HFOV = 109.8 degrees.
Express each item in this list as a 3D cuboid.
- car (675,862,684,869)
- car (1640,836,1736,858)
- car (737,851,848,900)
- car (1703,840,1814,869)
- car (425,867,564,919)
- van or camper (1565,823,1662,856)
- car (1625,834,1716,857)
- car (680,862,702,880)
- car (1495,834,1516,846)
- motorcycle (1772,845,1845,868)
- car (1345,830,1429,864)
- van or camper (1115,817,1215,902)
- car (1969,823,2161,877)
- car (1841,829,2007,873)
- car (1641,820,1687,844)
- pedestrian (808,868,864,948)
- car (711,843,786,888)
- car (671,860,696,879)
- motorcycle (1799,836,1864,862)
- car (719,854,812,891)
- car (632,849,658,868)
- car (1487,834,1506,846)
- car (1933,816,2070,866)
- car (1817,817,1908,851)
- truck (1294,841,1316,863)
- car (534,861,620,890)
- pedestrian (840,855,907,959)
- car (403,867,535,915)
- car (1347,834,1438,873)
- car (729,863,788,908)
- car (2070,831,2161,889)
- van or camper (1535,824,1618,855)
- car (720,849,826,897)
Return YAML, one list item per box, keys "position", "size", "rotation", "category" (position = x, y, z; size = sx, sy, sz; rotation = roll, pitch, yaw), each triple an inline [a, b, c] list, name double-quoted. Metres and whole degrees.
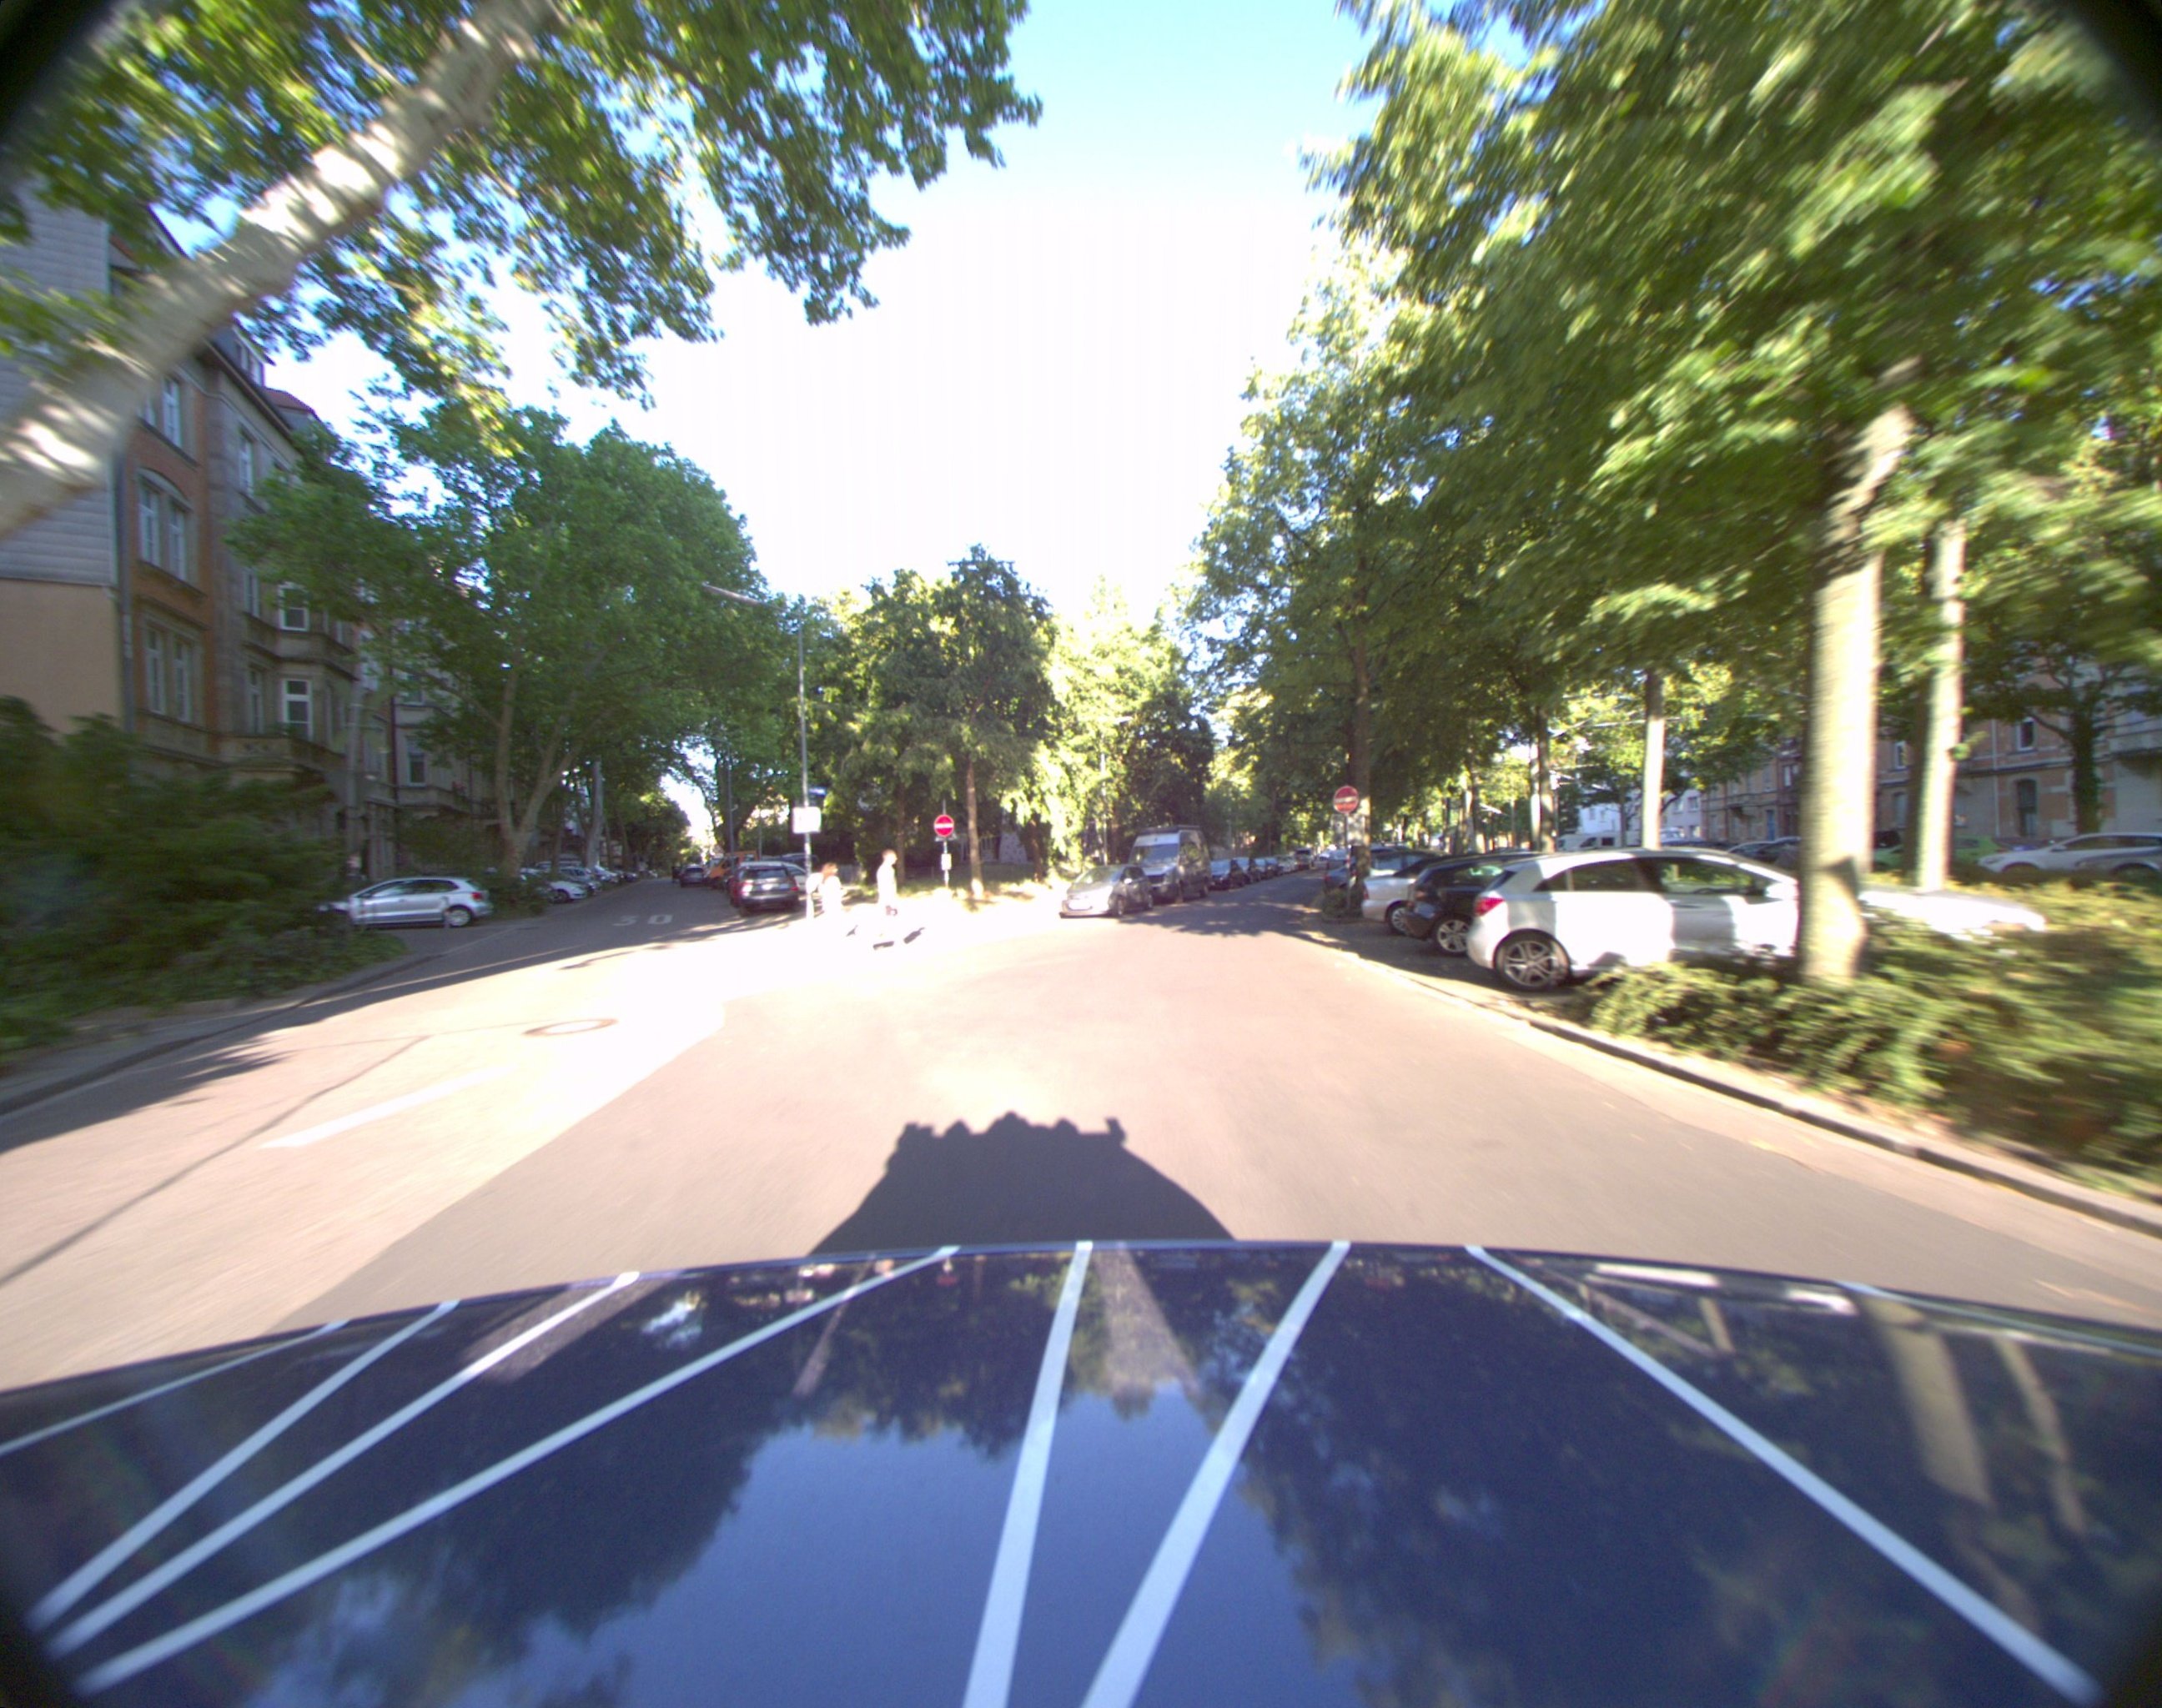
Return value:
- position: [-117.926, 3.314, 223.220]
  size: [2.003, 2.002, 3.991]
  rotation: [-2, 0, -27]
  category: "car"
- position: [35.184, -0.405, 44.121]
  size: [1.502, 1.161, 4.193]
  rotation: [-2, 0, -42]
  category: "car"
- position: [-12.883, 0.929, 33.989]
  size: [4.405, 1.698, 1.730]
  rotation: [-6, 2, -24]
  category: "car"
- position: [33.390, 0.020, 37.572]
  size: [3.989, 1.310, 1.597]
  rotation: [-2, 0, 40]
  category: "car"
- position: [-20.879, 1.342, 27.282]
  size: [3.784, 1.608, 1.904]
  rotation: [-2, 1, -34]
  category: "car"
- position: [39.397, -1.035, 56.358]
  size: [2.312, 2.357, 5.536]
  rotation: [-2, 1, -43]
  category: "van or camper"
- position: [36.219, -0.521, 46.756]
  size: [1.639, 1.302, 4.177]
  rotation: [-2, 0, -41]
  category: "car"
- position: [-33.020, 1.422, 64.309]
  size: [1.602, 1.459, 2.993]
  rotation: [-1, 1, -27]
  category: "car"
- position: [68.851, -2.257, 123.355]
  size: [1.996, 2.002, 4.004]
  rotation: [-1, 0, 15]
  category: "car"
- position: [29.889, 0.103, 31.255]
  size: [1.022, 0.884, 1.972]
  rotation: [-2, 0, -33]
  category: "motorcycle"
- position: [23.436, -0.495, 58.316]
  size: [2.084, 2.124, 5.502]
  rotation: [-4, -1, -40]
  category: "car"
- position: [3.253, 0.161, 28.053]
  size: [2.086, 2.746, 5.853]
  rotation: [-2, 0, 21]
  category: "van or camper"
- position: [27.331, -0.084, 20.854]
  size: [1.730, 1.373, 3.728]
  rotation: [-2, 0, -45]
  category: "car"
- position: [29.015, -0.083, 26.318]
  size: [1.711, 1.373, 3.728]
  rotation: [-2, 0, -44]
  category: "car"
- position: [52.020, -1.892, 67.890]
  size: [1.996, 2.002, 4.005]
  rotation: [-2, 0, 18]
  category: "car"
- position: [-5.053, 1.099, 15.664]
  size: [0.812, 1.598, 0.718]
  rotation: [-1, -2, 25]
  category: "pedestrian"
- position: [-23.751, 0.778, 54.327]
  size: [4.647, 2.950, 1.603]
  rotation: [-2, 1, -29]
  category: "car"
- position: [-35.500, 1.359, 67.768]
  size: [1.737, 1.623, 4.490]
  rotation: [0, -1, -30]
  category: "car"
- position: [29.379, -0.183, 29.783]
  size: [1.722, 0.949, 1.022]
  rotation: [-2, 0, 41]
  category: "motorcycle"
- position: [-16.905, 0.976, 40.751]
  size: [4.405, 1.484, 1.783]
  rotation: [-6, 2, -24]
  category: "car"
- position: [-48.858, 0.511, 85.145]
  size: [2.002, 2.002, 3.993]
  rotation: [-2, 0, -23]
  category: "car"
- position: [70.722, -2.406, 129.424]
  size: [1.996, 2.002, 4.004]
  rotation: [-2, 0, 15]
  category: "car"
- position: [40.264, -0.553, 33.384]
  size: [1.996, 2.002, 4.005]
  rotation: [-2, 0, 18]
  category: "car"
- position: [43.458, -1.088, 42.390]
  size: [1.853, 1.772, 4.029]
  rotation: [1, 1, 18]
  category: "car"
- position: [26.586, -0.254, 89.963]
  size: [2.298, 2.372, 6.943]
  rotation: [-2, 0, 18]
  category: "truck"
- position: [-33.139, 1.390, 50.098]
  size: [4.599, 1.755, 1.730]
  rotation: [0, -1, -32]
  category: "car"
- position: [-3.674, 0.913, 13.448]
  size: [0.812, 1.771, 0.717]
  rotation: [-1, 1, 25]
  category: "pedestrian"
- position: [-22.953, 1.337, 28.681]
  size: [3.654, 1.587, 1.647]
  rotation: [-2, 1, -33]
  category: "car"
- position: [16.885, 0.028, 41.350]
  size: [1.886, 1.770, 4.152]
  rotation: [-4, -1, -32]
  category: "car"
- position: [-12.475, 1.151, 29.203]
  size: [1.746, 1.441, 4.635]
  rotation: [-4, 2, -26]
  category: "car"
- position: [26.594, 0.112, 17.713]
  size: [1.597, 1.373, 4.278]
  rotation: [-2, 0, -39]
  category: "car"
- position: [42.127, -1.218, 64.682]
  size: [5.661, 2.454, 2.004]
  rotation: [-1, 1, 44]
  category: "van or camper"
- position: [-14.619, 0.864, 36.108]
  size: [4.405, 1.766, 1.783]
  rotation: [-6, 2, -24]
  category: "car"
